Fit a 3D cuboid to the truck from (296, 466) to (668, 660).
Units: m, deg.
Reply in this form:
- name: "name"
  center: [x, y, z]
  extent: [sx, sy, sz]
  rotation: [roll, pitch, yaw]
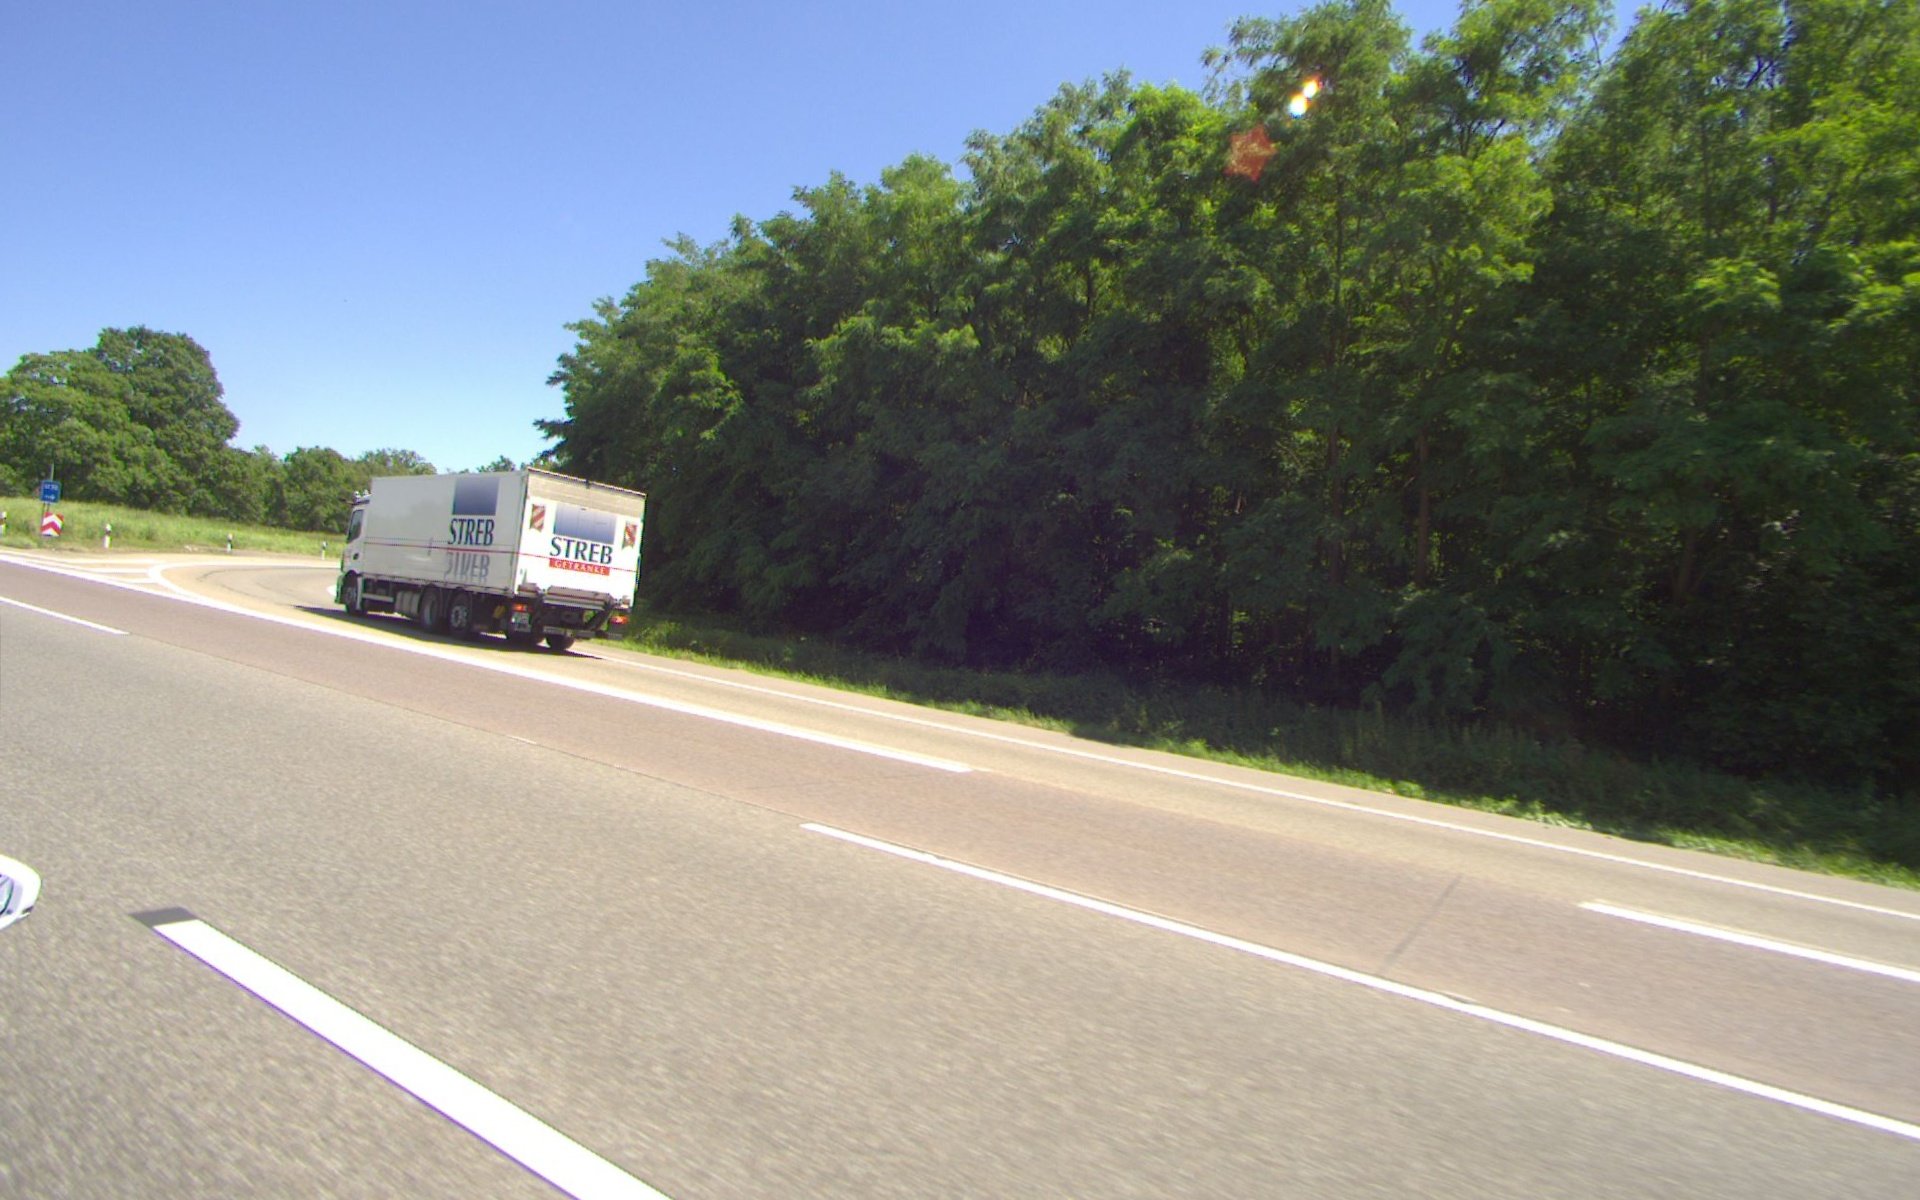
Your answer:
- name: "truck"
  center: [-11.206, -1.037, 22.743]
  extent: [10.613, 3.358, 3.028]
  rotation: [6, -2, 39]
